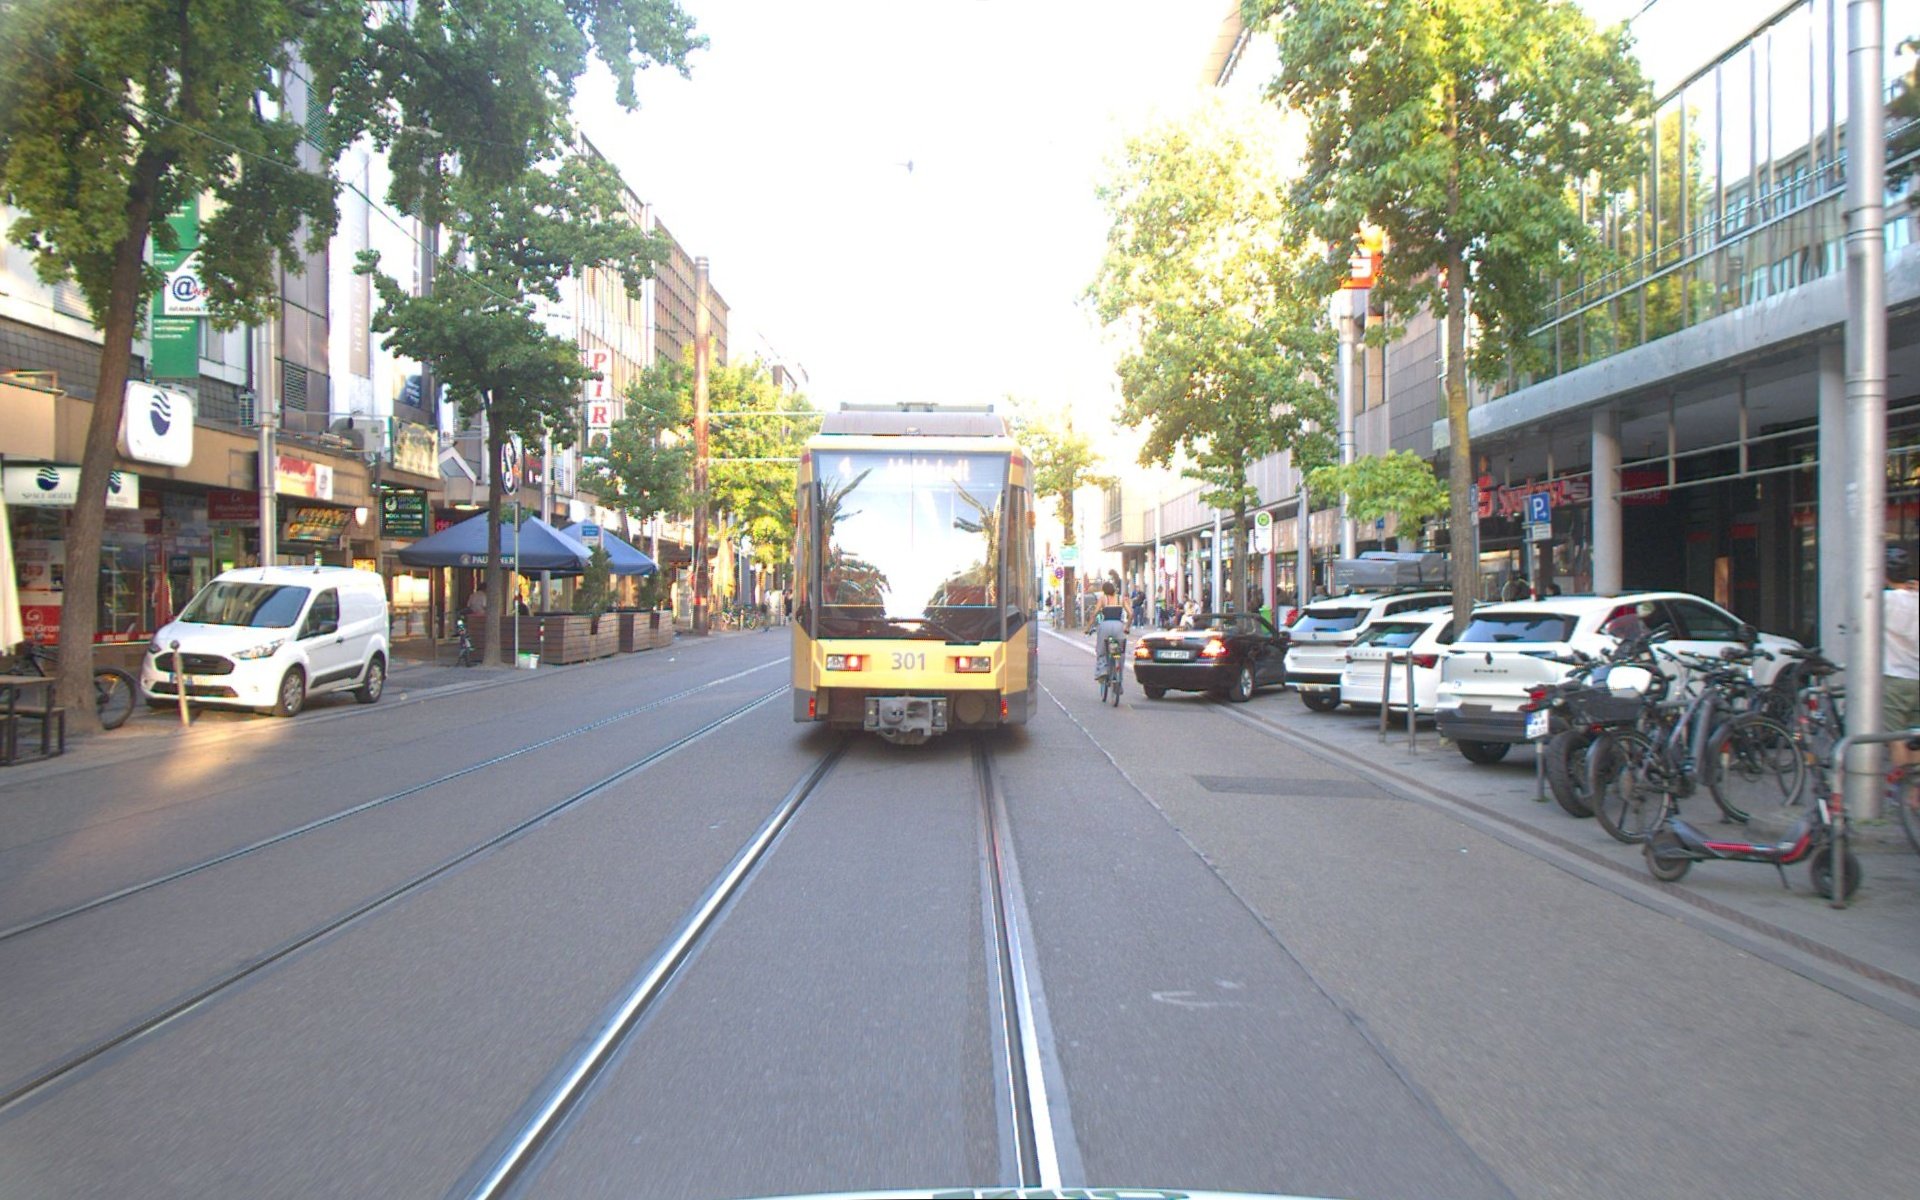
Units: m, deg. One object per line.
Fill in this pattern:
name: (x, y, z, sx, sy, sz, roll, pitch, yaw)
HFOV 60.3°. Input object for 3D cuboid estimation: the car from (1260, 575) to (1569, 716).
car: (6.463, 0.589, 23.404, 4.155, 1.666, 1.900, -3, 1, -33)

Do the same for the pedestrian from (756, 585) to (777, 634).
pedestrian: (-7.687, 0.366, 65.815, 0.736, 1.913, 0.575, 2, -1, -4)

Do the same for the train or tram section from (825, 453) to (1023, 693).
train or tram section: (-0.620, -0.408, 30.108, 2.946, 3.585, 10.399, 1, 0, -1)

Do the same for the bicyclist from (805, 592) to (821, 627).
bicyclist: (-6.147, 0.391, 69.219, 0.608, 1.441, 0.699, 1, -1, -3)

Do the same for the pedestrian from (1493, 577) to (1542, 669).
pedestrian: (10.243, 0.418, 30.401, 0.584, 1.644, 0.755, -2, 1, -1)

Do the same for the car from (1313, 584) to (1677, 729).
car: (6.692, 0.659, 20.701, 4.116, 1.483, 1.850, -3, 0, -24)

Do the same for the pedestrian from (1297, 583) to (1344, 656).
pedestrian: (8.154, 0.428, 37.440, 0.859, 1.609, 0.755, 1, 1, -1)

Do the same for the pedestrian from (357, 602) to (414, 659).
pedestrian: (-12.166, 0.640, 35.057, 0.804, 1.140, 0.779, 3, -1, 10)

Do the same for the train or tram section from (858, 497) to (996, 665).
train or tram section: (-0.790, -0.400, 40.733, 2.942, 3.585, 10.842, 0, 0, -1)

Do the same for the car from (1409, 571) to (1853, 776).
car: (6.556, 0.626, 16.030, 4.291, 1.590, 1.856, -3, 0, -33)

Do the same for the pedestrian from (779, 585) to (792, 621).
pedestrian: (-8.357, 0.138, 79.267, 0.540, 1.716, 0.575, 2, -1, -4)

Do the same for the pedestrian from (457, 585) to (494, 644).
pedestrian: (-10.921, 0.326, 37.328, 0.591, 1.278, 0.560, 3, -1, 2)

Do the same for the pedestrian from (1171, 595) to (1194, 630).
pedestrian: (9.017, 0.498, 67.001, 0.789, 1.351, 0.626, -2, 1, 0)

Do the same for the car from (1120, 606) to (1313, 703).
car: (4.283, 0.823, 27.008, 1.767, 1.372, 4.440, 0, 1, 28)

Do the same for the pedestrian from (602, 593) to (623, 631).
pedestrian: (-12.654, 0.444, 60.258, 0.562, 1.342, 0.725, 2, -1, 0)

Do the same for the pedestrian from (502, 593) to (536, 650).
pedestrian: (-10.271, 0.497, 38.547, 0.547, 1.278, 0.606, 3, -1, 0)

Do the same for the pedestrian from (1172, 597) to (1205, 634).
pedestrian: (8.719, 0.590, 63.230, 1.089, 1.351, 0.926, -2, 0, 0)

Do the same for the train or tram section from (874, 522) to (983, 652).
train or tram section: (-0.967, -0.357, 51.429, 2.982, 3.585, 10.528, 1, 0, -1)

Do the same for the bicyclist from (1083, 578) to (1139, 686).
bicyclist: (2.217, 0.468, 24.398, 0.712, 1.553, 0.733, 2, -1, 0)

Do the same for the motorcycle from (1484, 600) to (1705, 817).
motorcycle: (5.025, 0.783, 13.007, 2.189, 1.497, 0.783, -3, 2, -45)

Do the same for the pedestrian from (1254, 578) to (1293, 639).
pedestrian: (9.976, 0.262, 52.640, 1.032, 1.909, 0.929, -2, 1, 0)

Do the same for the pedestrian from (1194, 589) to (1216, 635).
pedestrian: (9.149, 0.435, 61.848, 0.687, 1.666, 0.646, -2, 1, 0)

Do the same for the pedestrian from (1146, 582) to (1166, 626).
pedestrian: (8.128, 0.153, 68.560, 0.733, 1.813, 0.891, 1, -1, 3)

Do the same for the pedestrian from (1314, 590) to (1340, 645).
pedestrian: (11.181, 0.524, 50.390, 0.584, 1.644, 0.829, -2, 1, 0)

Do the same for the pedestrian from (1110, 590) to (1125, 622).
pedestrian: (8.533, 0.305, 89.779, 0.687, 1.714, 0.680, -2, 1, 0)

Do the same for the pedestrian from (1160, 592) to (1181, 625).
pedestrian: (8.763, 0.357, 68.806, 0.724, 1.351, 0.720, -2, 1, 0)

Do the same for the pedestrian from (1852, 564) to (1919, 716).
pedestrian: (10.873, 0.459, 19.156, 0.648, 1.729, 0.805, 1, -1, -1)

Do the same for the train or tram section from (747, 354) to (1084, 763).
train or tram section: (-0.468, -0.349, 19.724, 2.955, 3.585, 10.368, 0, 0, -1)

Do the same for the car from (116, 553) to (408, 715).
car: (-8.972, 0.427, 21.744, 1.757, 1.850, 4.516, 2, -1, 2)

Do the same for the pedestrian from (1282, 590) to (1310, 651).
pedestrian: (9.392, 0.569, 46.232, 0.584, 1.644, 0.755, -2, 1, 0)

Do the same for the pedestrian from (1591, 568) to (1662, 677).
pedestrian: (11.370, 0.367, 28.215, 0.859, 1.813, 0.755, -2, 1, -1)
